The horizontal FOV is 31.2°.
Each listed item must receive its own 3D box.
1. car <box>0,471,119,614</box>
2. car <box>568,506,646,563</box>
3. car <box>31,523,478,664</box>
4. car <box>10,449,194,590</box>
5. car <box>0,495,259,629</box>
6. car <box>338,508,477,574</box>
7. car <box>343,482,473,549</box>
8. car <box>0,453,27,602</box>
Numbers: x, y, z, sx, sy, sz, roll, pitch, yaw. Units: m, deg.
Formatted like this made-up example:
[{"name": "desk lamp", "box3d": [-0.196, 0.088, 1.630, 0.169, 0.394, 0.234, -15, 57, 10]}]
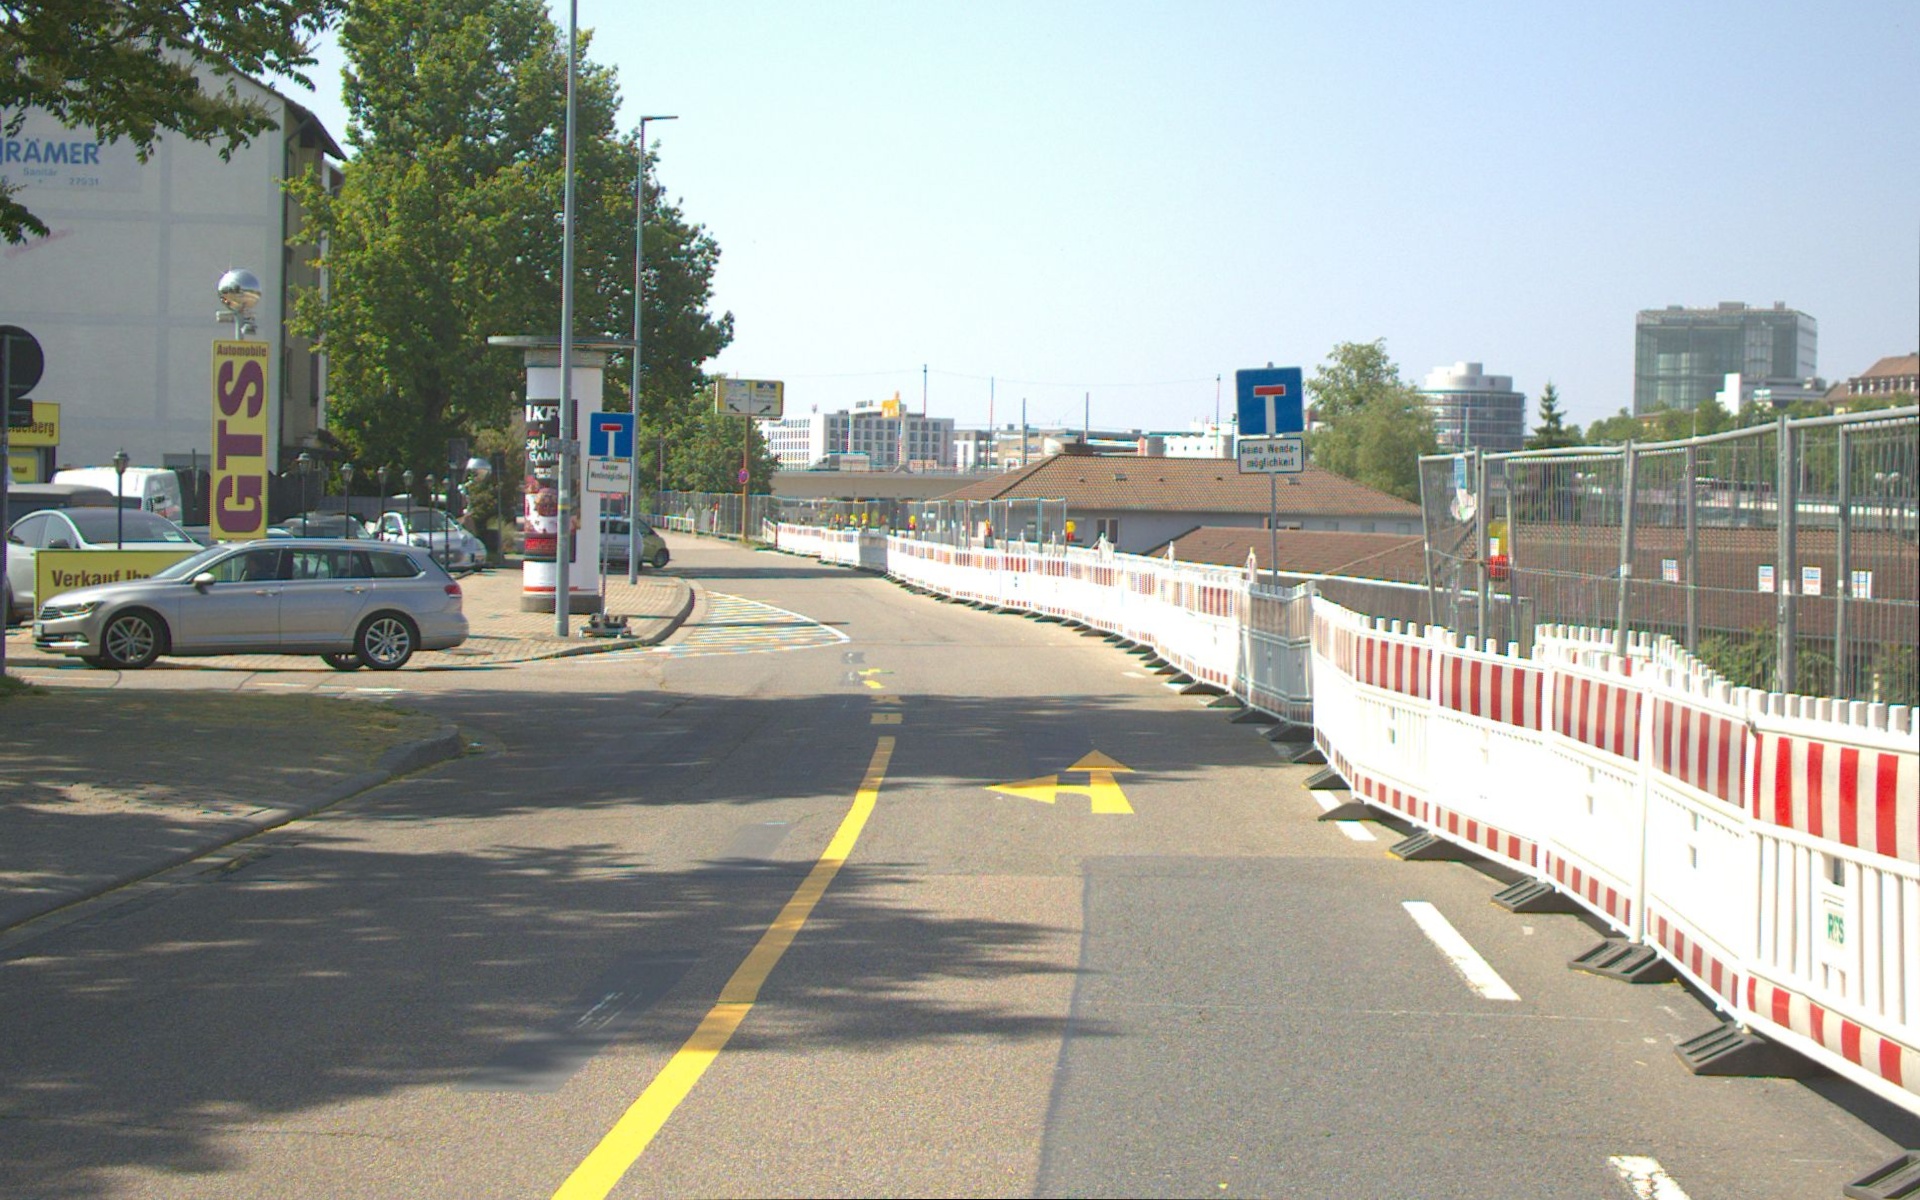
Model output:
[{"name": "car", "box3d": [-16.134, -0.966, 58.981, 2.246, 2.342, 4.824, 0, 0, 0]}, {"name": "car", "box3d": [-9.913, -1.851, 96.736, 1.869, 1.493, 4.032, 0, 2, -1]}, {"name": "car", "box3d": [-7.842, -0.095, 38.312, 4.590, 1.488, 1.683, 0, 1, -27]}, {"name": "car", "box3d": [-16.307, -1.490, 65.659, 2.245, 2.422, 5.720, 4, 0, -4]}, {"name": "car", "box3d": [-11.847, -0.511, 48.253, 1.976, 1.701, 4.662, -2, 0, -39]}, {"name": "car", "box3d": [-13.067, -1.402, 81.103, 1.776, 1.468, 4.000, -3, 2, -32]}, {"name": "car", "box3d": [-17.389, -2.659, 108.295, 3.922, 1.952, 1.760, 2, 1, -12]}, {"name": "car", "box3d": [-18.882, -1.316, 61.801, 2.277, 2.748, 6.152, 0, 1, 3]}]
